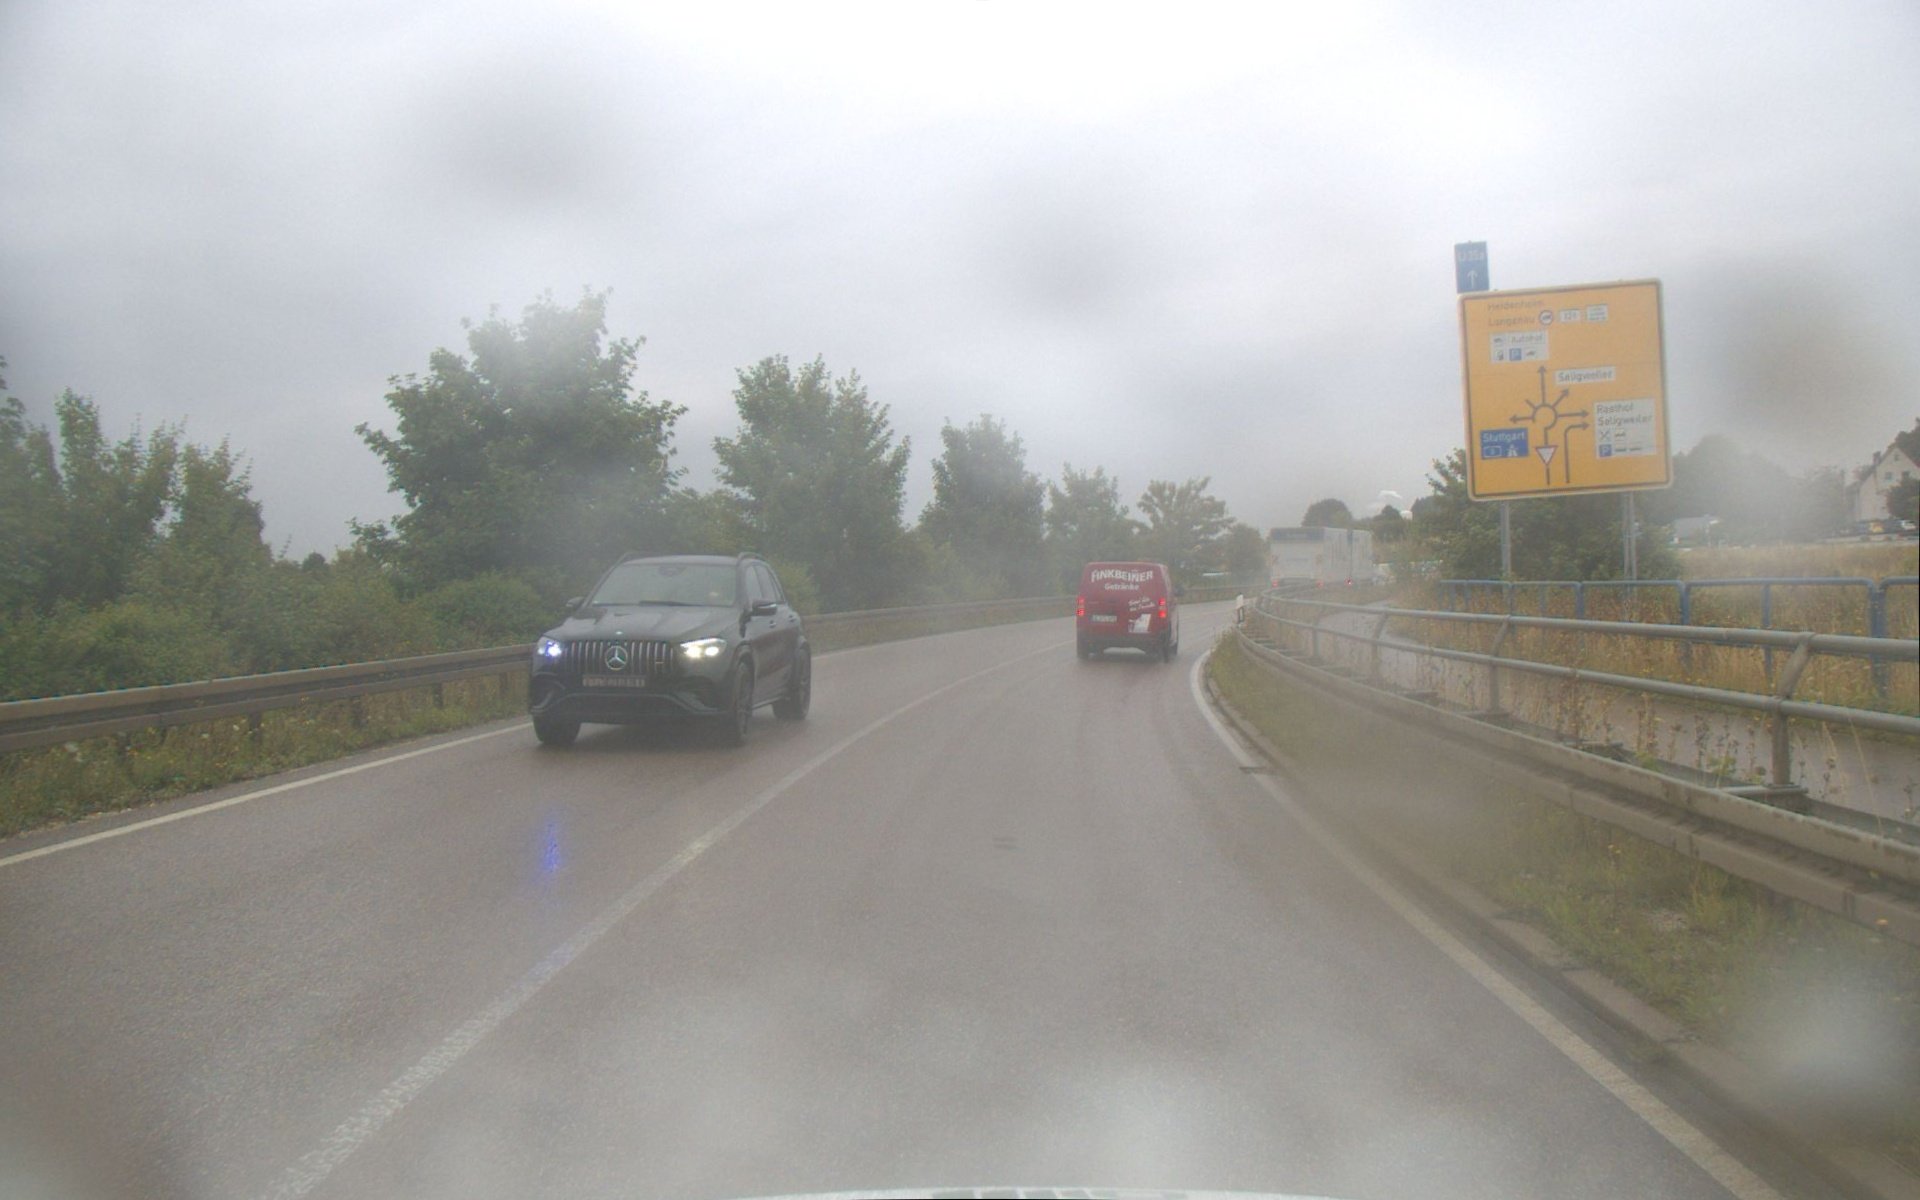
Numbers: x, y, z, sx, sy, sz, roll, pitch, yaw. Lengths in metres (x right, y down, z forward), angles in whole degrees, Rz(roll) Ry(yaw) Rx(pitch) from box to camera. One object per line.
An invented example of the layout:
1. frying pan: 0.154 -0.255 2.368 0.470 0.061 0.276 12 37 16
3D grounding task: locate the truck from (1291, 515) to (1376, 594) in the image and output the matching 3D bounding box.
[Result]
1. truck: 20.000 -2.317 88.082 3.136 3.990 8.739 0 0 21

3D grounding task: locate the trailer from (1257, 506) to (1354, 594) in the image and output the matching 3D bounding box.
1. trailer: 16.805 -2.292 79.970 3.136 3.990 8.739 0 0 21

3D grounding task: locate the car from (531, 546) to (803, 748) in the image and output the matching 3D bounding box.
1. car: -2.737 0.397 16.380 1.952 1.757 4.000 0 0 0

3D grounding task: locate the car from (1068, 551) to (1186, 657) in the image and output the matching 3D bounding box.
1. car: 3.467 0.020 33.730 1.951 1.959 4.148 -2 1 11
